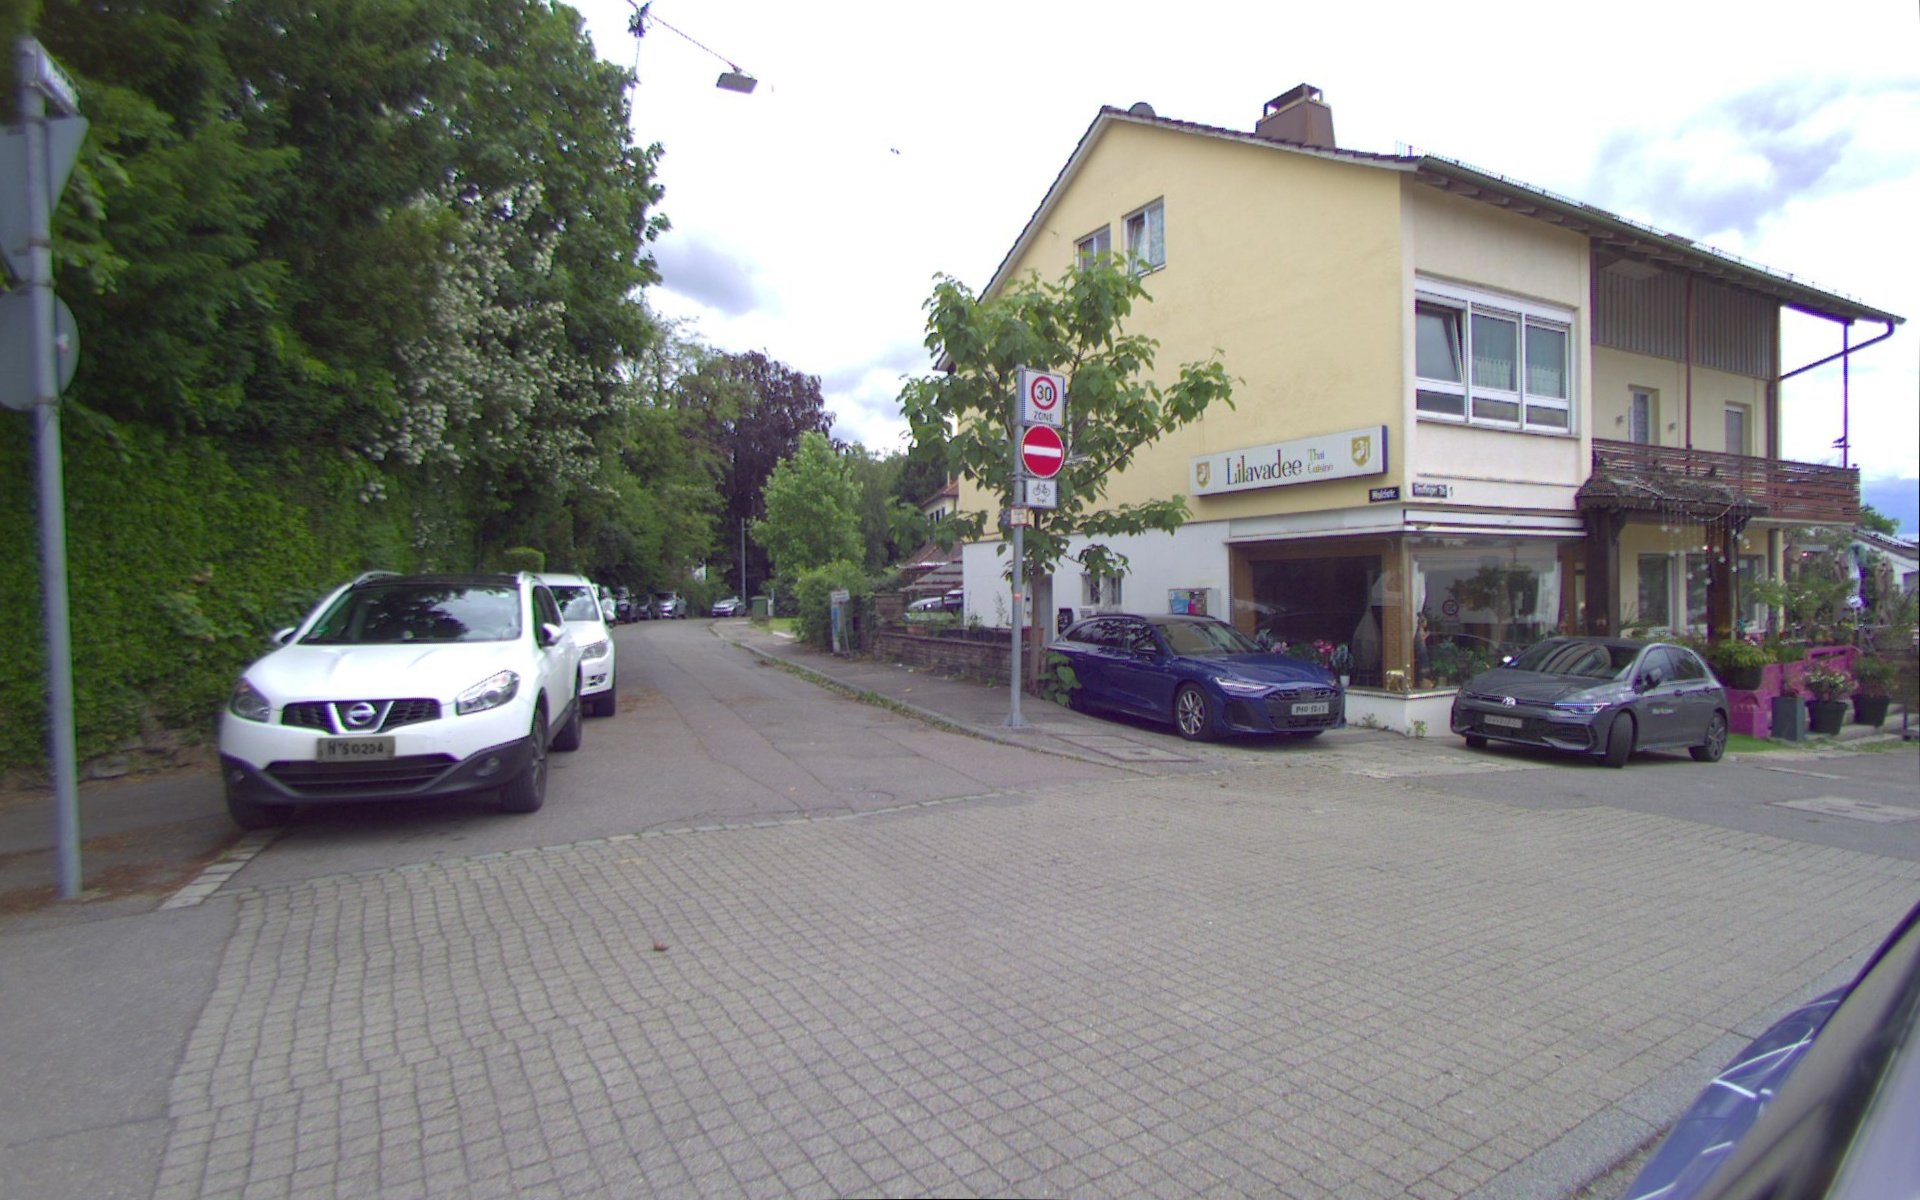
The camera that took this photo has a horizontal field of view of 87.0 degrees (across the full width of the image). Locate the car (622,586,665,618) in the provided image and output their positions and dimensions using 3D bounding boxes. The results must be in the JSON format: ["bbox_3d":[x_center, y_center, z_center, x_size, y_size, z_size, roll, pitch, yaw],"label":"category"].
[{"bbox_3d":[-15.940,0.071,51.116,1.542,1.502,3.479,-1,1,-8],"label":"car"}]

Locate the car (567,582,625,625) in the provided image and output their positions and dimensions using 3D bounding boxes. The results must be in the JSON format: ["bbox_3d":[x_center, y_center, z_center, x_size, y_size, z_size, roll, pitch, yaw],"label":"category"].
[{"bbox_3d":[-13.444,0.101,37.550,1.542,1.502,3.481,-1,1,-11],"label":"car"}]

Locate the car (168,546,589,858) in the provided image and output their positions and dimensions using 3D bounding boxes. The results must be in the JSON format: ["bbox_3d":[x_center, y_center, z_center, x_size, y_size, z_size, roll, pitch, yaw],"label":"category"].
[{"bbox_3d":[-3.882,0.506,7.561,1.761,1.643,4.144,-1,1,-16],"label":"car"}]

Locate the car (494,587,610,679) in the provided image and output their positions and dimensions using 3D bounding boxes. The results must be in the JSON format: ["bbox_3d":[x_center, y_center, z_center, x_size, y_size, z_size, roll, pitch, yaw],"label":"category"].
[{"bbox_3d":[-7.385,0.499,18.551,1.761,1.441,4.080,-1,1,-20],"label":"car"}]

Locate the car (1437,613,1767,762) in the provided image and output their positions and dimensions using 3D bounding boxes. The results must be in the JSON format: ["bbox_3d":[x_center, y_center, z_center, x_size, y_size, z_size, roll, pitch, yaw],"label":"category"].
[{"bbox_3d":[7.927,1.064,12.380,4.242,1.480,1.800,5,-2,-34],"label":"car"}]

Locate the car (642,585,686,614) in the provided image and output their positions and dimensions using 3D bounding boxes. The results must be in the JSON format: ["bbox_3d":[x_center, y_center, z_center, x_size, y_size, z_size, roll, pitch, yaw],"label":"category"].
[{"bbox_3d":[-16.265,-0.044,55.798,1.543,1.502,3.476,0,1,-3],"label":"car"}]

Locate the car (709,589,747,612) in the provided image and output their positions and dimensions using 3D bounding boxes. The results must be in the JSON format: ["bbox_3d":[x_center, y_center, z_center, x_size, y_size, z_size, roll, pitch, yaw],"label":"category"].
[{"bbox_3d":[-16.375,0.025,71.461,1.547,1.502,3.468,0,1,7],"label":"car"}]

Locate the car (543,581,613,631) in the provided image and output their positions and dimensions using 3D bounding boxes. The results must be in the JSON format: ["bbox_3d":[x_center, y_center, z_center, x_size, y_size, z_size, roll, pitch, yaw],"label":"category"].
[{"bbox_3d":[-12.237,0.136,32.596,1.542,1.502,3.745,-1,1,-11],"label":"car"}]

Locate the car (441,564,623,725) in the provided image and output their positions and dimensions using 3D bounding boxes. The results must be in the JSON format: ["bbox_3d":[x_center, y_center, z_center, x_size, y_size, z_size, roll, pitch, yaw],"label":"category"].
[{"bbox_3d":[-5.193,0.432,12.615,1.761,1.643,4.080,-1,1,-20],"label":"car"}]

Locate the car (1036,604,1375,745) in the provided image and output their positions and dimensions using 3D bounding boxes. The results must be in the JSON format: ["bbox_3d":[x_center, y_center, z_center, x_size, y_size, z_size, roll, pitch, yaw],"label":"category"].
[{"bbox_3d":[2.898,0.827,13.218,1.761,1.405,4.758,2,0,-23],"label":"car"}]

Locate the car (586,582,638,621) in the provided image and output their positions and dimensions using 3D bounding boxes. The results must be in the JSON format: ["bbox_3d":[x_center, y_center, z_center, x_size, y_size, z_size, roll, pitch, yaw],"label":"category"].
[{"bbox_3d":[-14.229,0.042,41.530,1.542,1.502,3.481,-1,1,-11],"label":"car"}]

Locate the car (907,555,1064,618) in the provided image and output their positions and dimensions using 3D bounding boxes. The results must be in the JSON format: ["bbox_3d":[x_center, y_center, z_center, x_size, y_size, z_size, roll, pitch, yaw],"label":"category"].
[{"bbox_3d":[0.748,-0.372,30.255,4.235,1.480,1.802,4,-2,-19],"label":"car"}]
